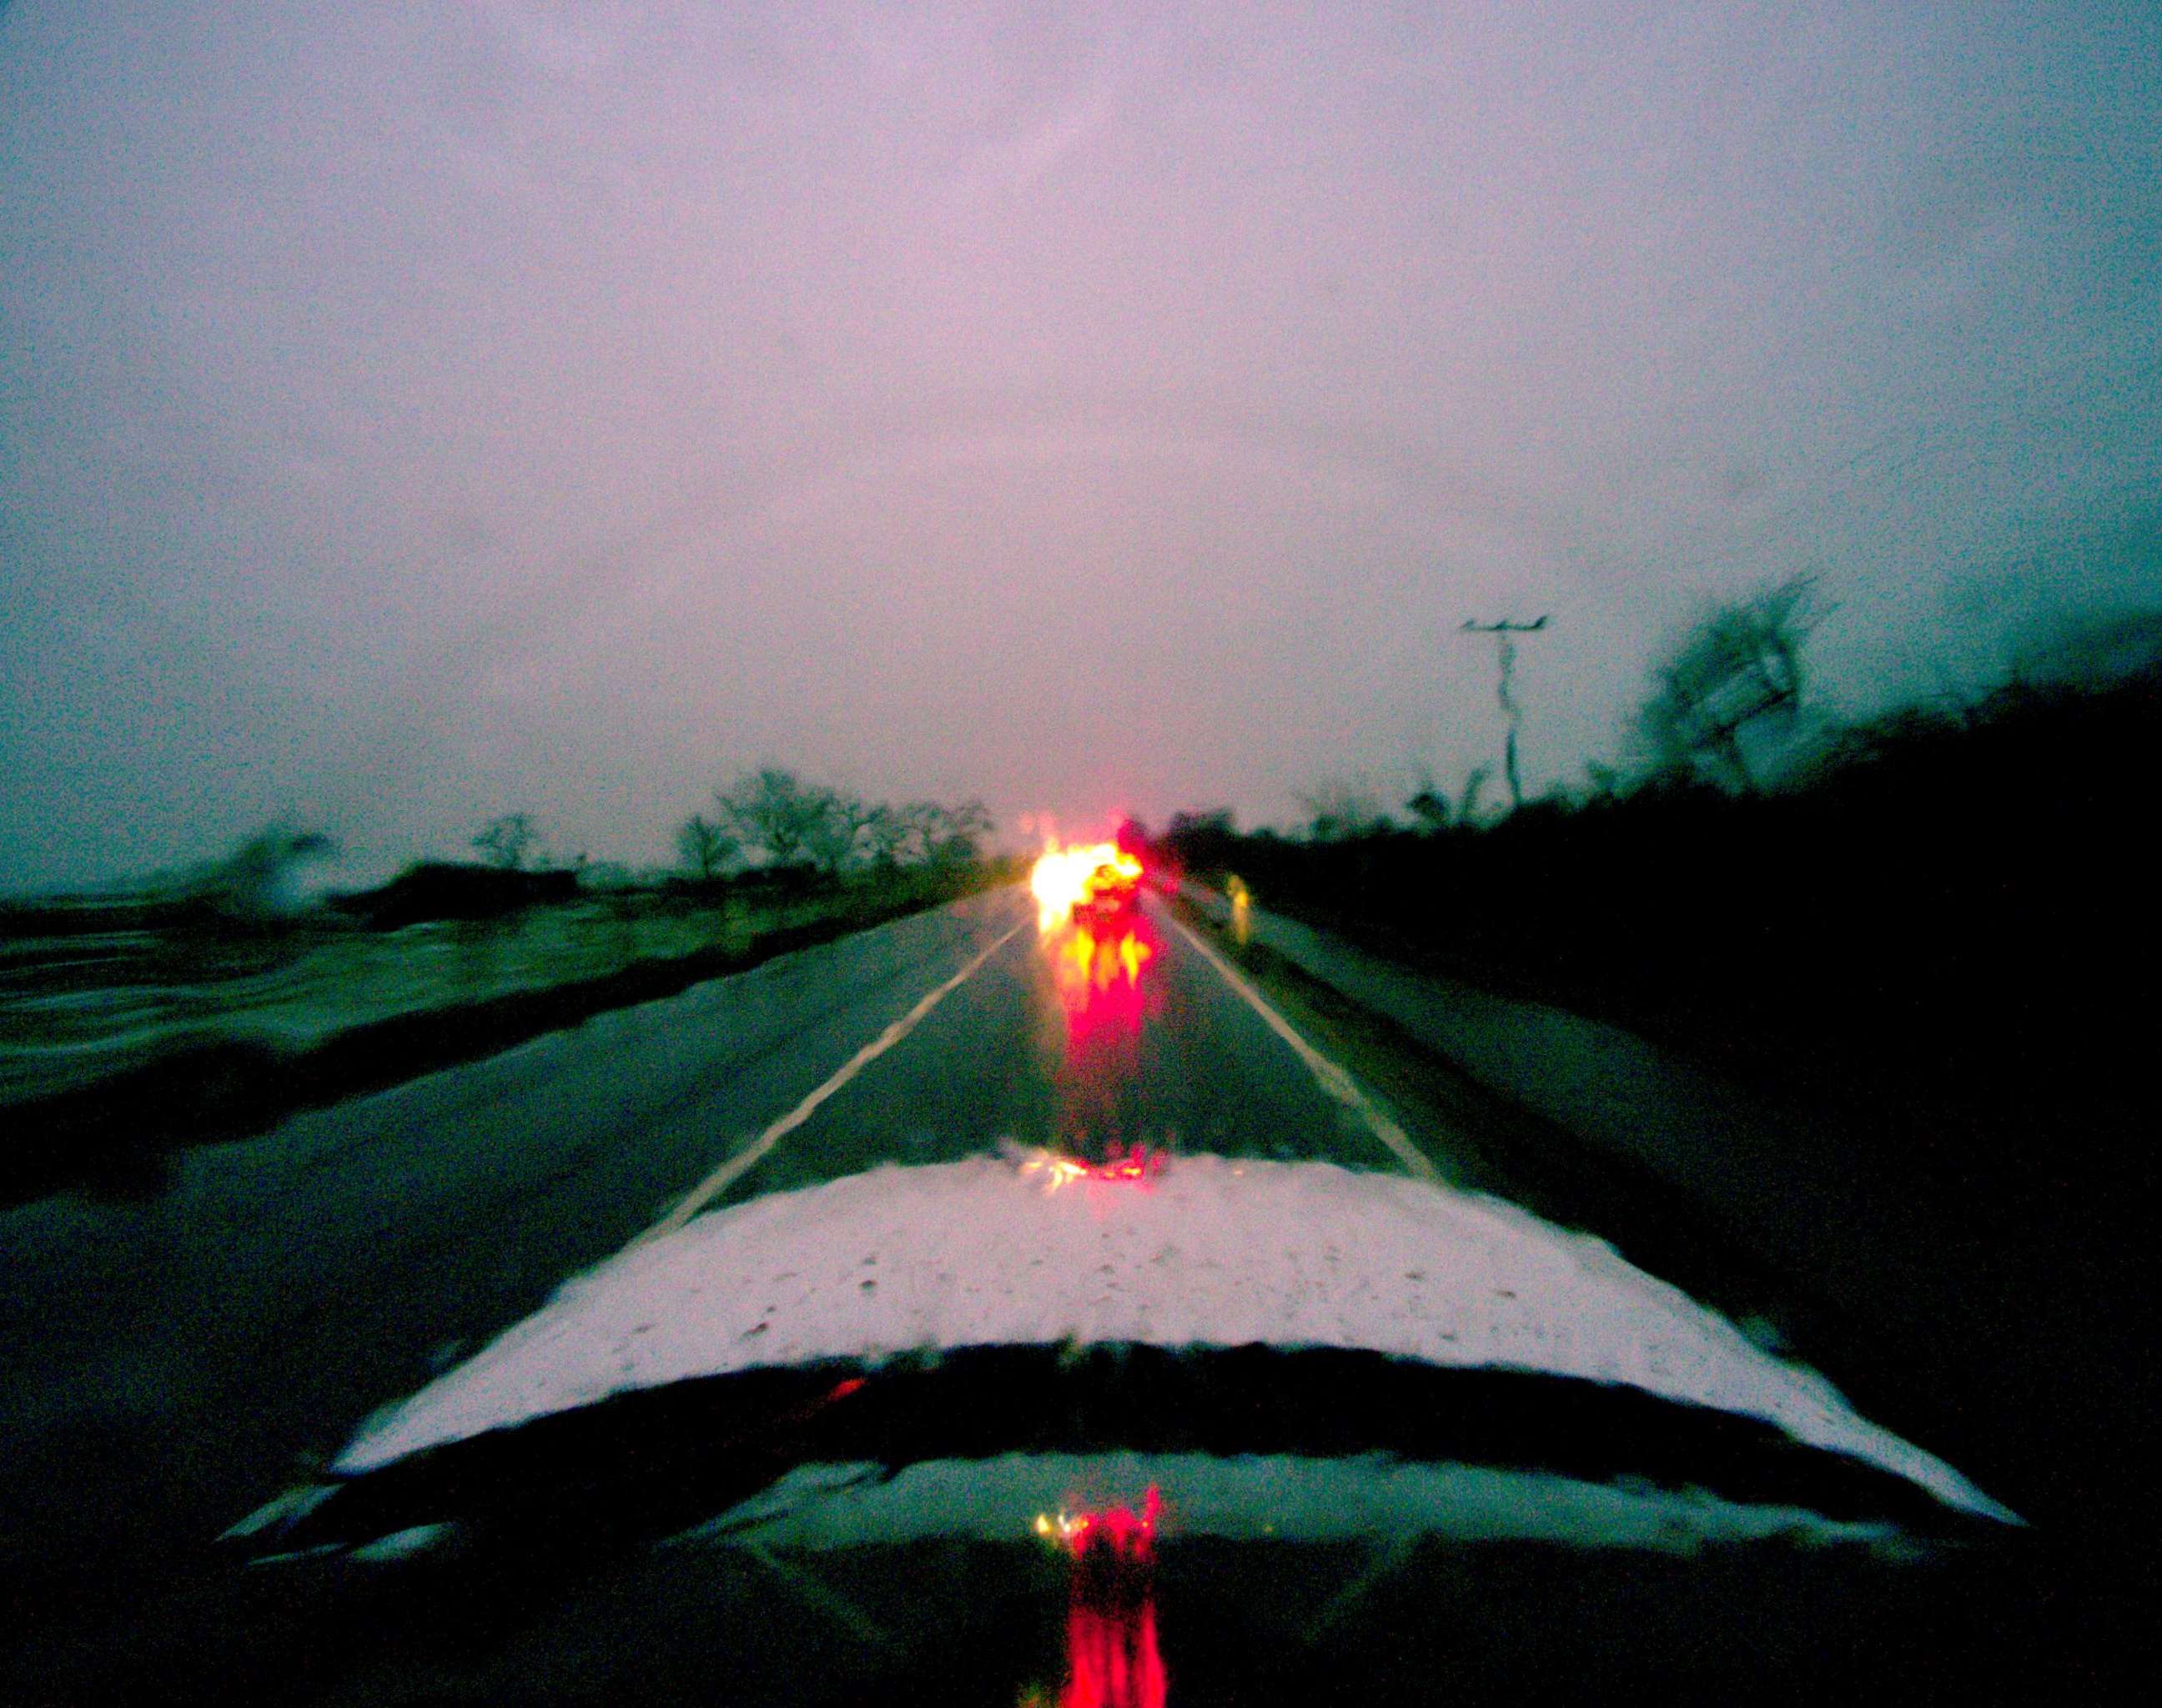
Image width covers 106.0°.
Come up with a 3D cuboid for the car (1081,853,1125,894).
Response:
[{"bbox_3d":[1.089,0.917,39.140,1.986,1.849,4.002,-1,0,2],"label":"car"}]

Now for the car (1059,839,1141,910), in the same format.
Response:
[{"bbox_3d":[0.588,0.526,23.831,2.112,1.820,4.982,-1,0,2],"label":"car"}]

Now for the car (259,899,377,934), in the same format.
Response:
[{"bbox_3d":[-33.768,2.753,36.127,3.444,1.342,1.592,0,0,-13],"label":"car"}]

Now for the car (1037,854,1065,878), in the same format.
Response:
[{"bbox_3d":[-2.122,0.830,59.347,1.849,1.517,4.515,-4,0,-1],"label":"car"}]

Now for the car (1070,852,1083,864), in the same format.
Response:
[{"bbox_3d":[-0.614,0.524,116.544,1.755,1.555,4.002,-3,0,1],"label":"car"}]
